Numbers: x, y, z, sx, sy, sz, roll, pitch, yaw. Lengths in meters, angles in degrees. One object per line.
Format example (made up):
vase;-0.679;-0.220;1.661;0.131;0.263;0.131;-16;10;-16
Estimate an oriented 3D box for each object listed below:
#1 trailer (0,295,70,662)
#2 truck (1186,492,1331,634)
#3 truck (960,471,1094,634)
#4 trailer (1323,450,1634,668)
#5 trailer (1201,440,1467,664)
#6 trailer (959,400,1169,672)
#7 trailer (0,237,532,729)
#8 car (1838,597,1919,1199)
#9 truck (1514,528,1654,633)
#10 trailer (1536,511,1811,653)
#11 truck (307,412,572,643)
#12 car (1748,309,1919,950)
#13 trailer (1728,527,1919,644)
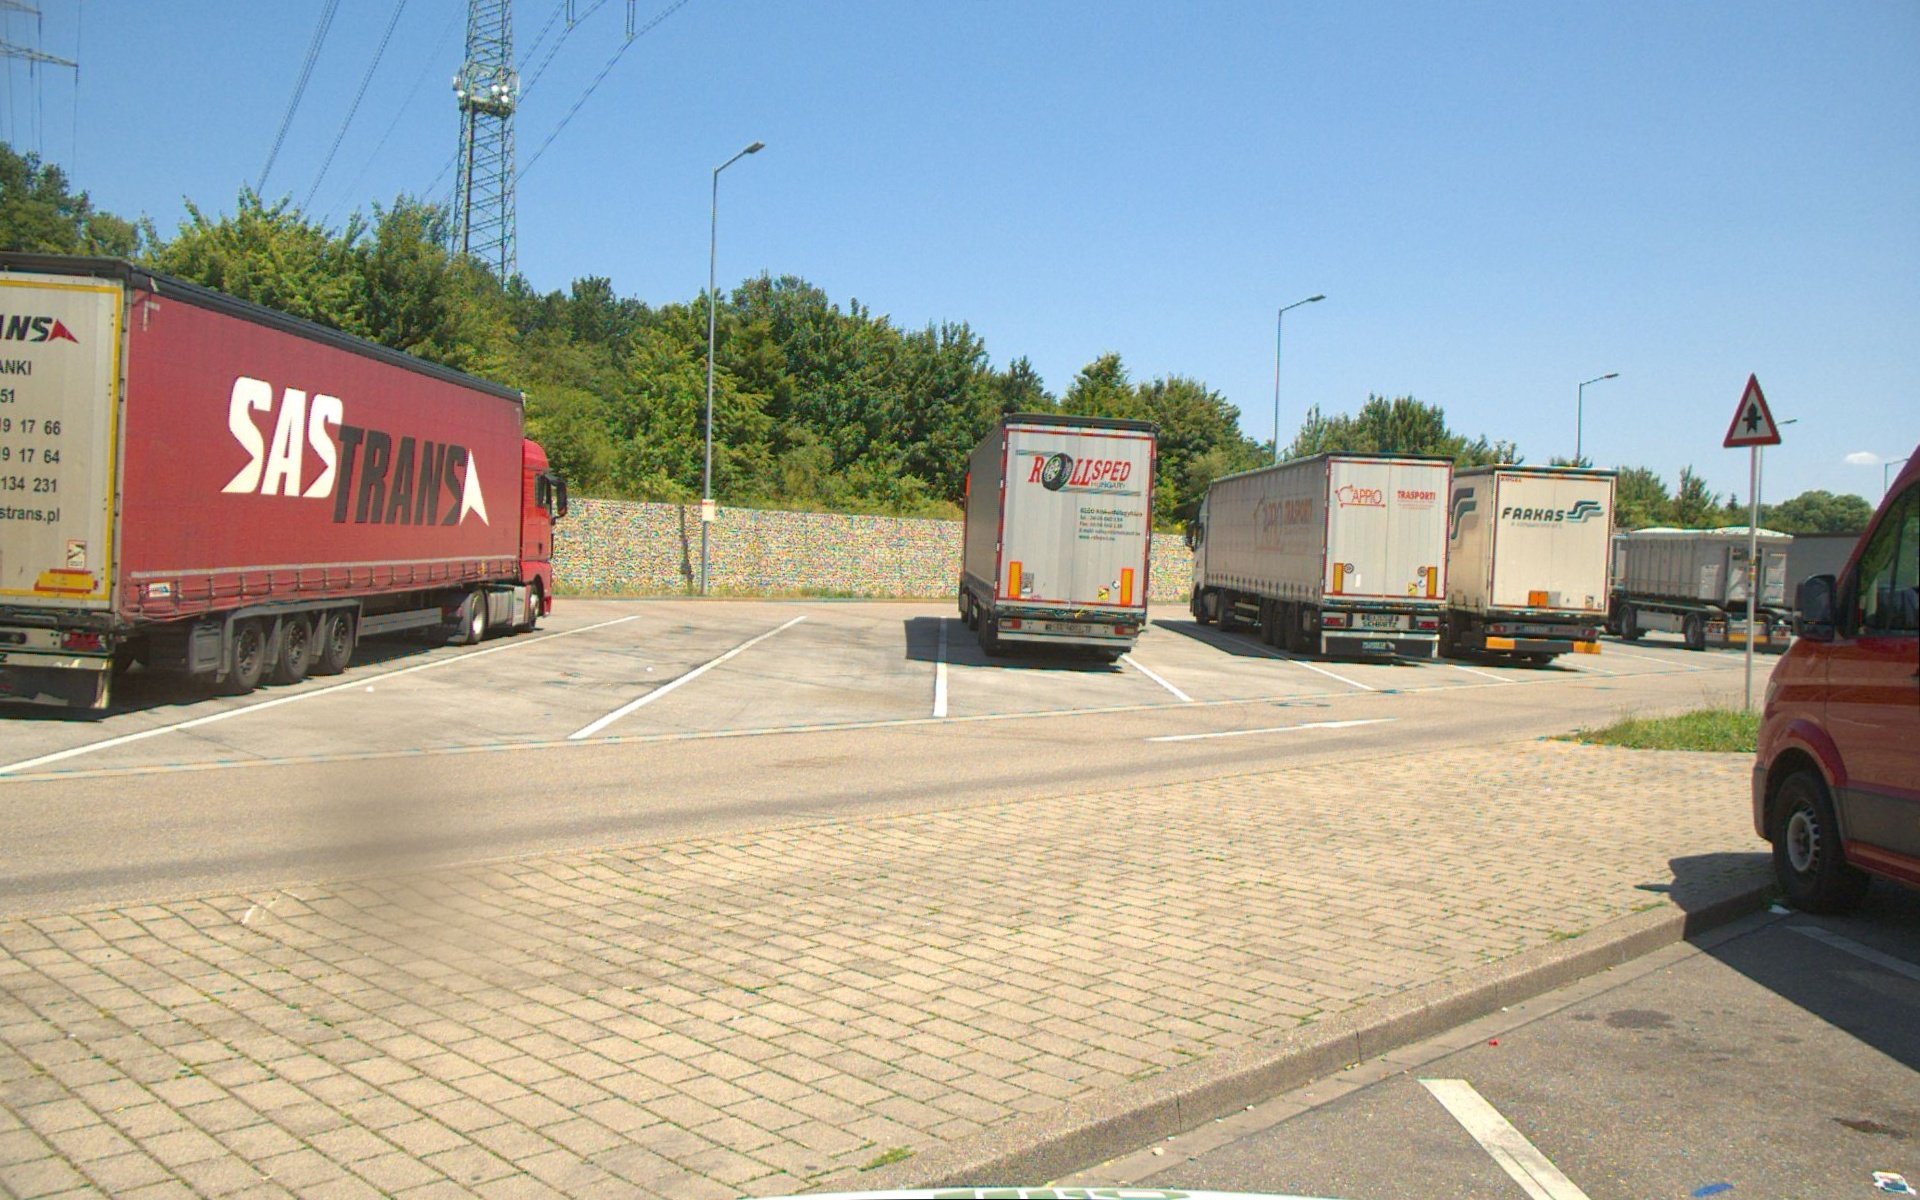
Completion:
trailer;-12.514;-1.310;15.694;2.673;4.282;10.170;2;2;-1
truck;8.111;-1.047;45.626;2.794;3.544;5.482;2;2;-1
truck;1.495;-1.151;39.837;2.794;3.544;5.482;2;2;-1
trailer;11.784;-1.026;39.620;2.781;4.204;13.722;2;2;-1
trailer;8.224;-1.146;38.816;2.781;4.204;13.722;2;2;-1
trailer;1.663;-1.237;33.228;2.848;4.204;13.720;2;2;-1
trailer;-8.668;-1.300;21.176;2.848;4.203;13.723;2;2;-1
car;2.608;0.797;1.144;1.703;1.508;3.813;1;1;-6
truck;22.024;-0.728;58.698;2.794;3.423;5.484;3;2;0
trailer;21.943;-0.697;52.194;2.780;3.781;13.726;3;2;1
truck;-8.781;-1.210;28.612;2.794;3.487;5.482;2;2;-1
car;5.020;0.162;5.548;2.023;2.742;6.397;1;1;4
trailer;34.957;-0.660;65.396;2.780;4.119;13.726;2;2;1
